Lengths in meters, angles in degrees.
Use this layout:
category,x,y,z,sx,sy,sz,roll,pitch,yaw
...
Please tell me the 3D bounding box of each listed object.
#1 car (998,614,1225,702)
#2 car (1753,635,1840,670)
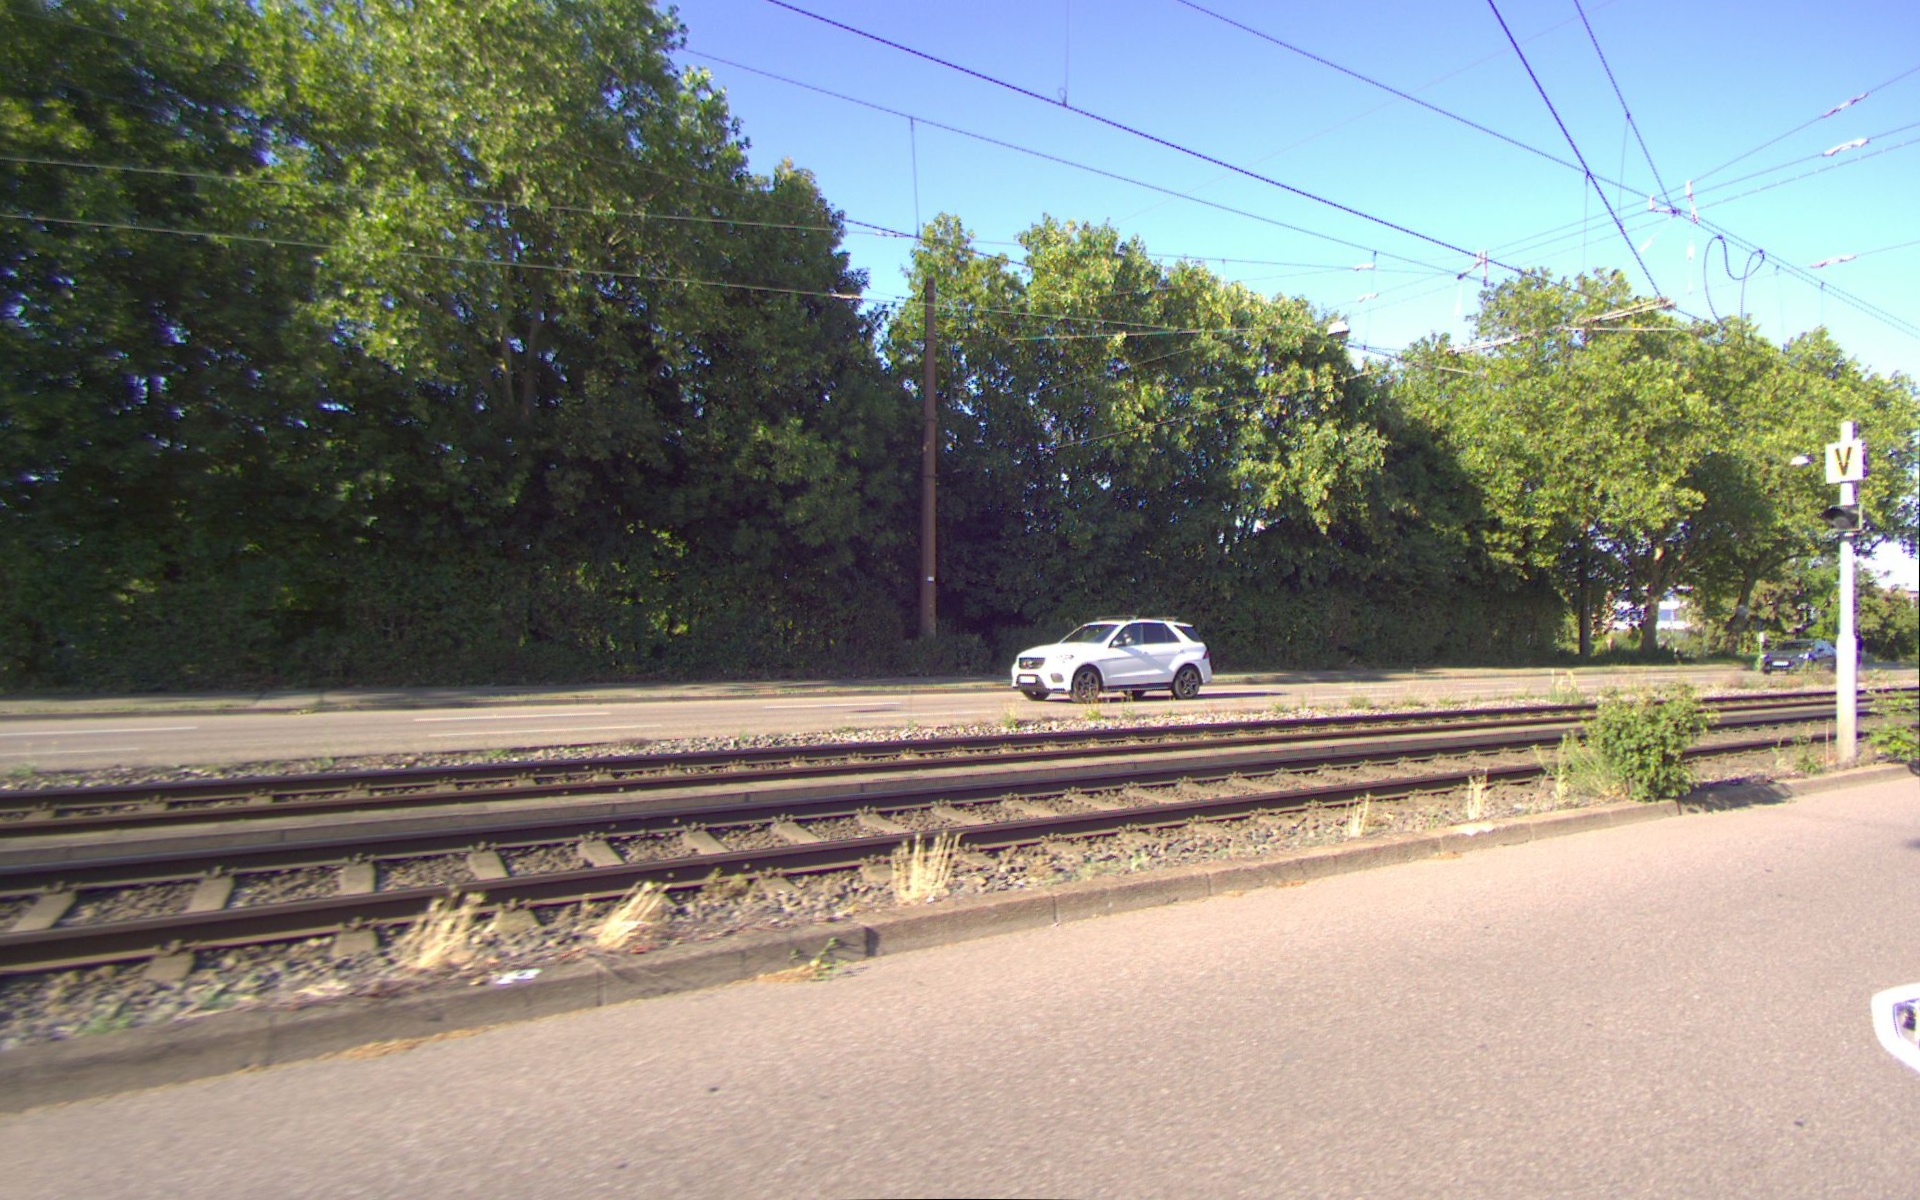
category,x,y,z,sx,sy,sz,roll,pitch,yaw
car,3.372,1.267,22.008,4.892,1.729,1.951,2,-4,-34
car,36.507,2.292,43.806,4.301,1.487,1.701,2,-4,-33
